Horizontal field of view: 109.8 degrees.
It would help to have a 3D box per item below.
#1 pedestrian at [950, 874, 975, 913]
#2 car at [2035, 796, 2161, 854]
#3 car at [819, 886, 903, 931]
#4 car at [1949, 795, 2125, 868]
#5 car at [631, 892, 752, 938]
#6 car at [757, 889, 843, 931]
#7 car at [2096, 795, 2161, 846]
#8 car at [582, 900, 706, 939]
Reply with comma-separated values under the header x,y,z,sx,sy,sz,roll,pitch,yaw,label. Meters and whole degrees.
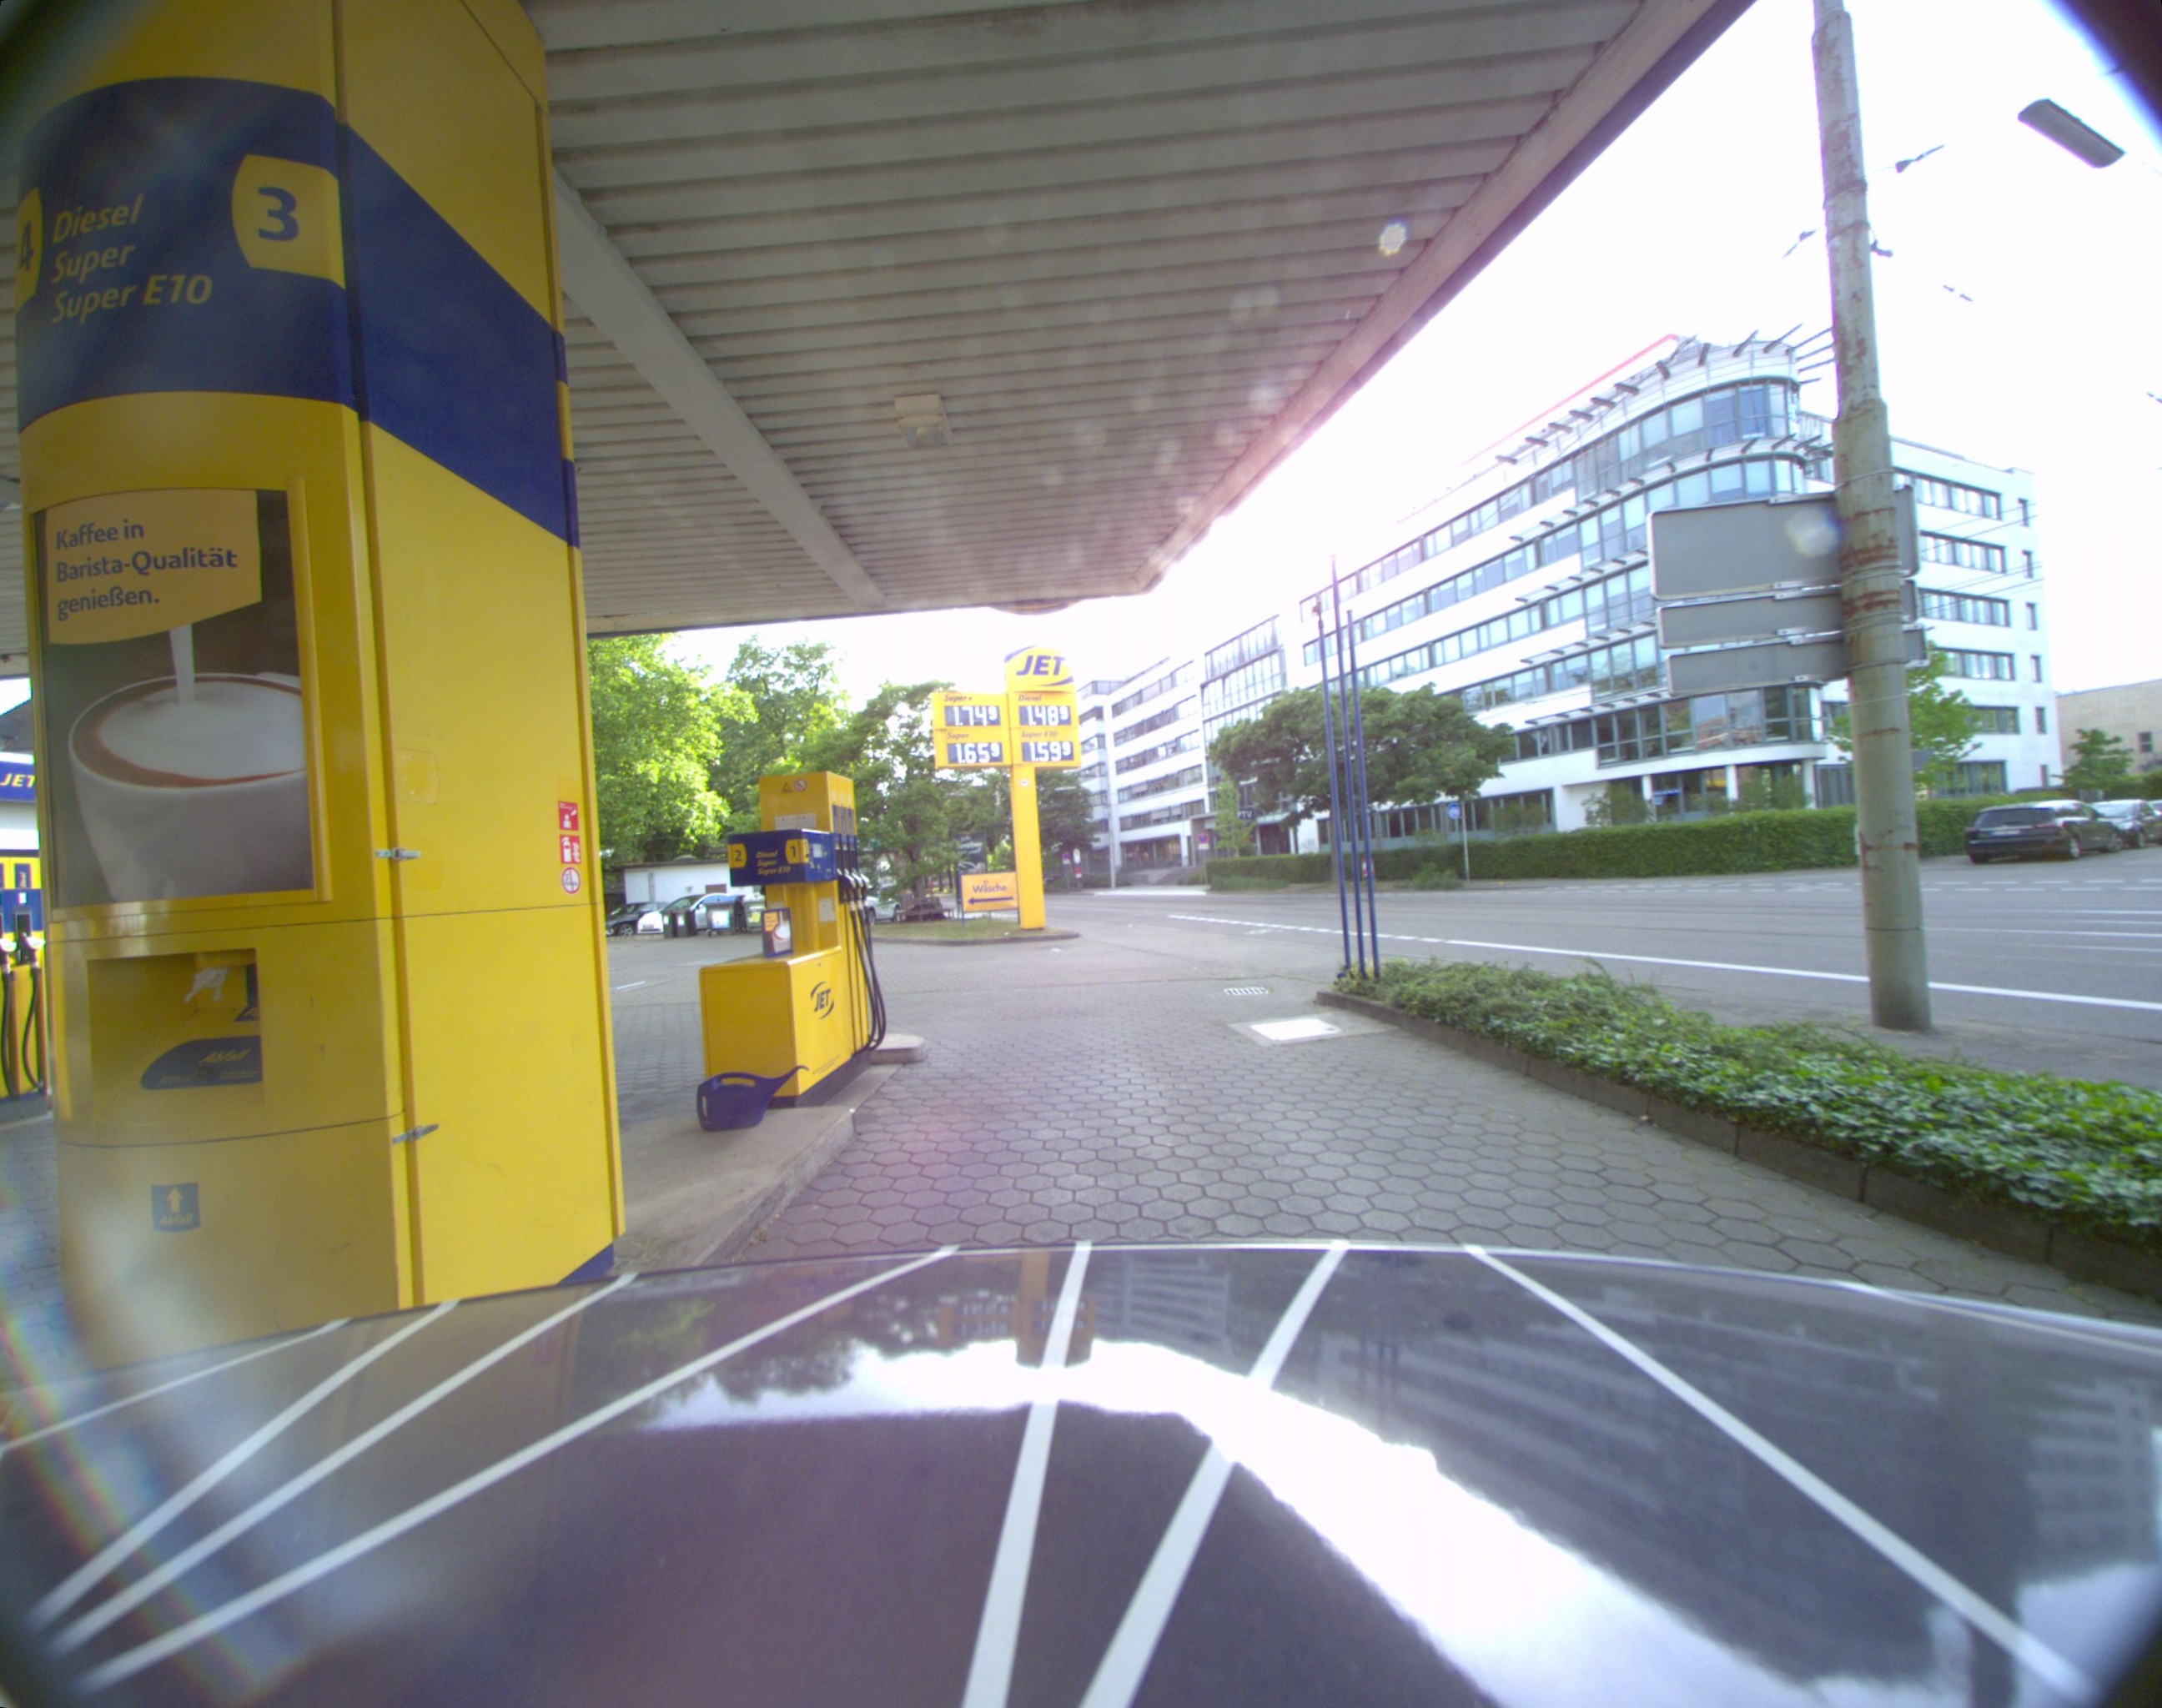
x,y,z,sx,sy,sz,roll,pitch,yaw,label
-6.359,2.089,40.638,0.934,2.001,1.214,-2,-1,-24,pedestrian
32.493,-0.938,24.031,4.109,1.544,1.786,-4,-1,-23,car
-8.684,2.120,30.373,1.739,1.500,4.003,-4,-2,6,car
27.378,-0.646,21.760,4.438,1.603,1.976,-5,-1,-23,car
-15.358,2.387,30.247,1.785,1.514,4.229,-4,-3,17,car
-11.800,2.326,32.235,1.739,1.500,4.004,-4,-2,6,car
37.153,-1.231,26.069,4.109,1.544,1.786,-4,-1,-23,car
-17.744,2.635,31.063,1.745,1.269,4.230,-5,-3,19,car
